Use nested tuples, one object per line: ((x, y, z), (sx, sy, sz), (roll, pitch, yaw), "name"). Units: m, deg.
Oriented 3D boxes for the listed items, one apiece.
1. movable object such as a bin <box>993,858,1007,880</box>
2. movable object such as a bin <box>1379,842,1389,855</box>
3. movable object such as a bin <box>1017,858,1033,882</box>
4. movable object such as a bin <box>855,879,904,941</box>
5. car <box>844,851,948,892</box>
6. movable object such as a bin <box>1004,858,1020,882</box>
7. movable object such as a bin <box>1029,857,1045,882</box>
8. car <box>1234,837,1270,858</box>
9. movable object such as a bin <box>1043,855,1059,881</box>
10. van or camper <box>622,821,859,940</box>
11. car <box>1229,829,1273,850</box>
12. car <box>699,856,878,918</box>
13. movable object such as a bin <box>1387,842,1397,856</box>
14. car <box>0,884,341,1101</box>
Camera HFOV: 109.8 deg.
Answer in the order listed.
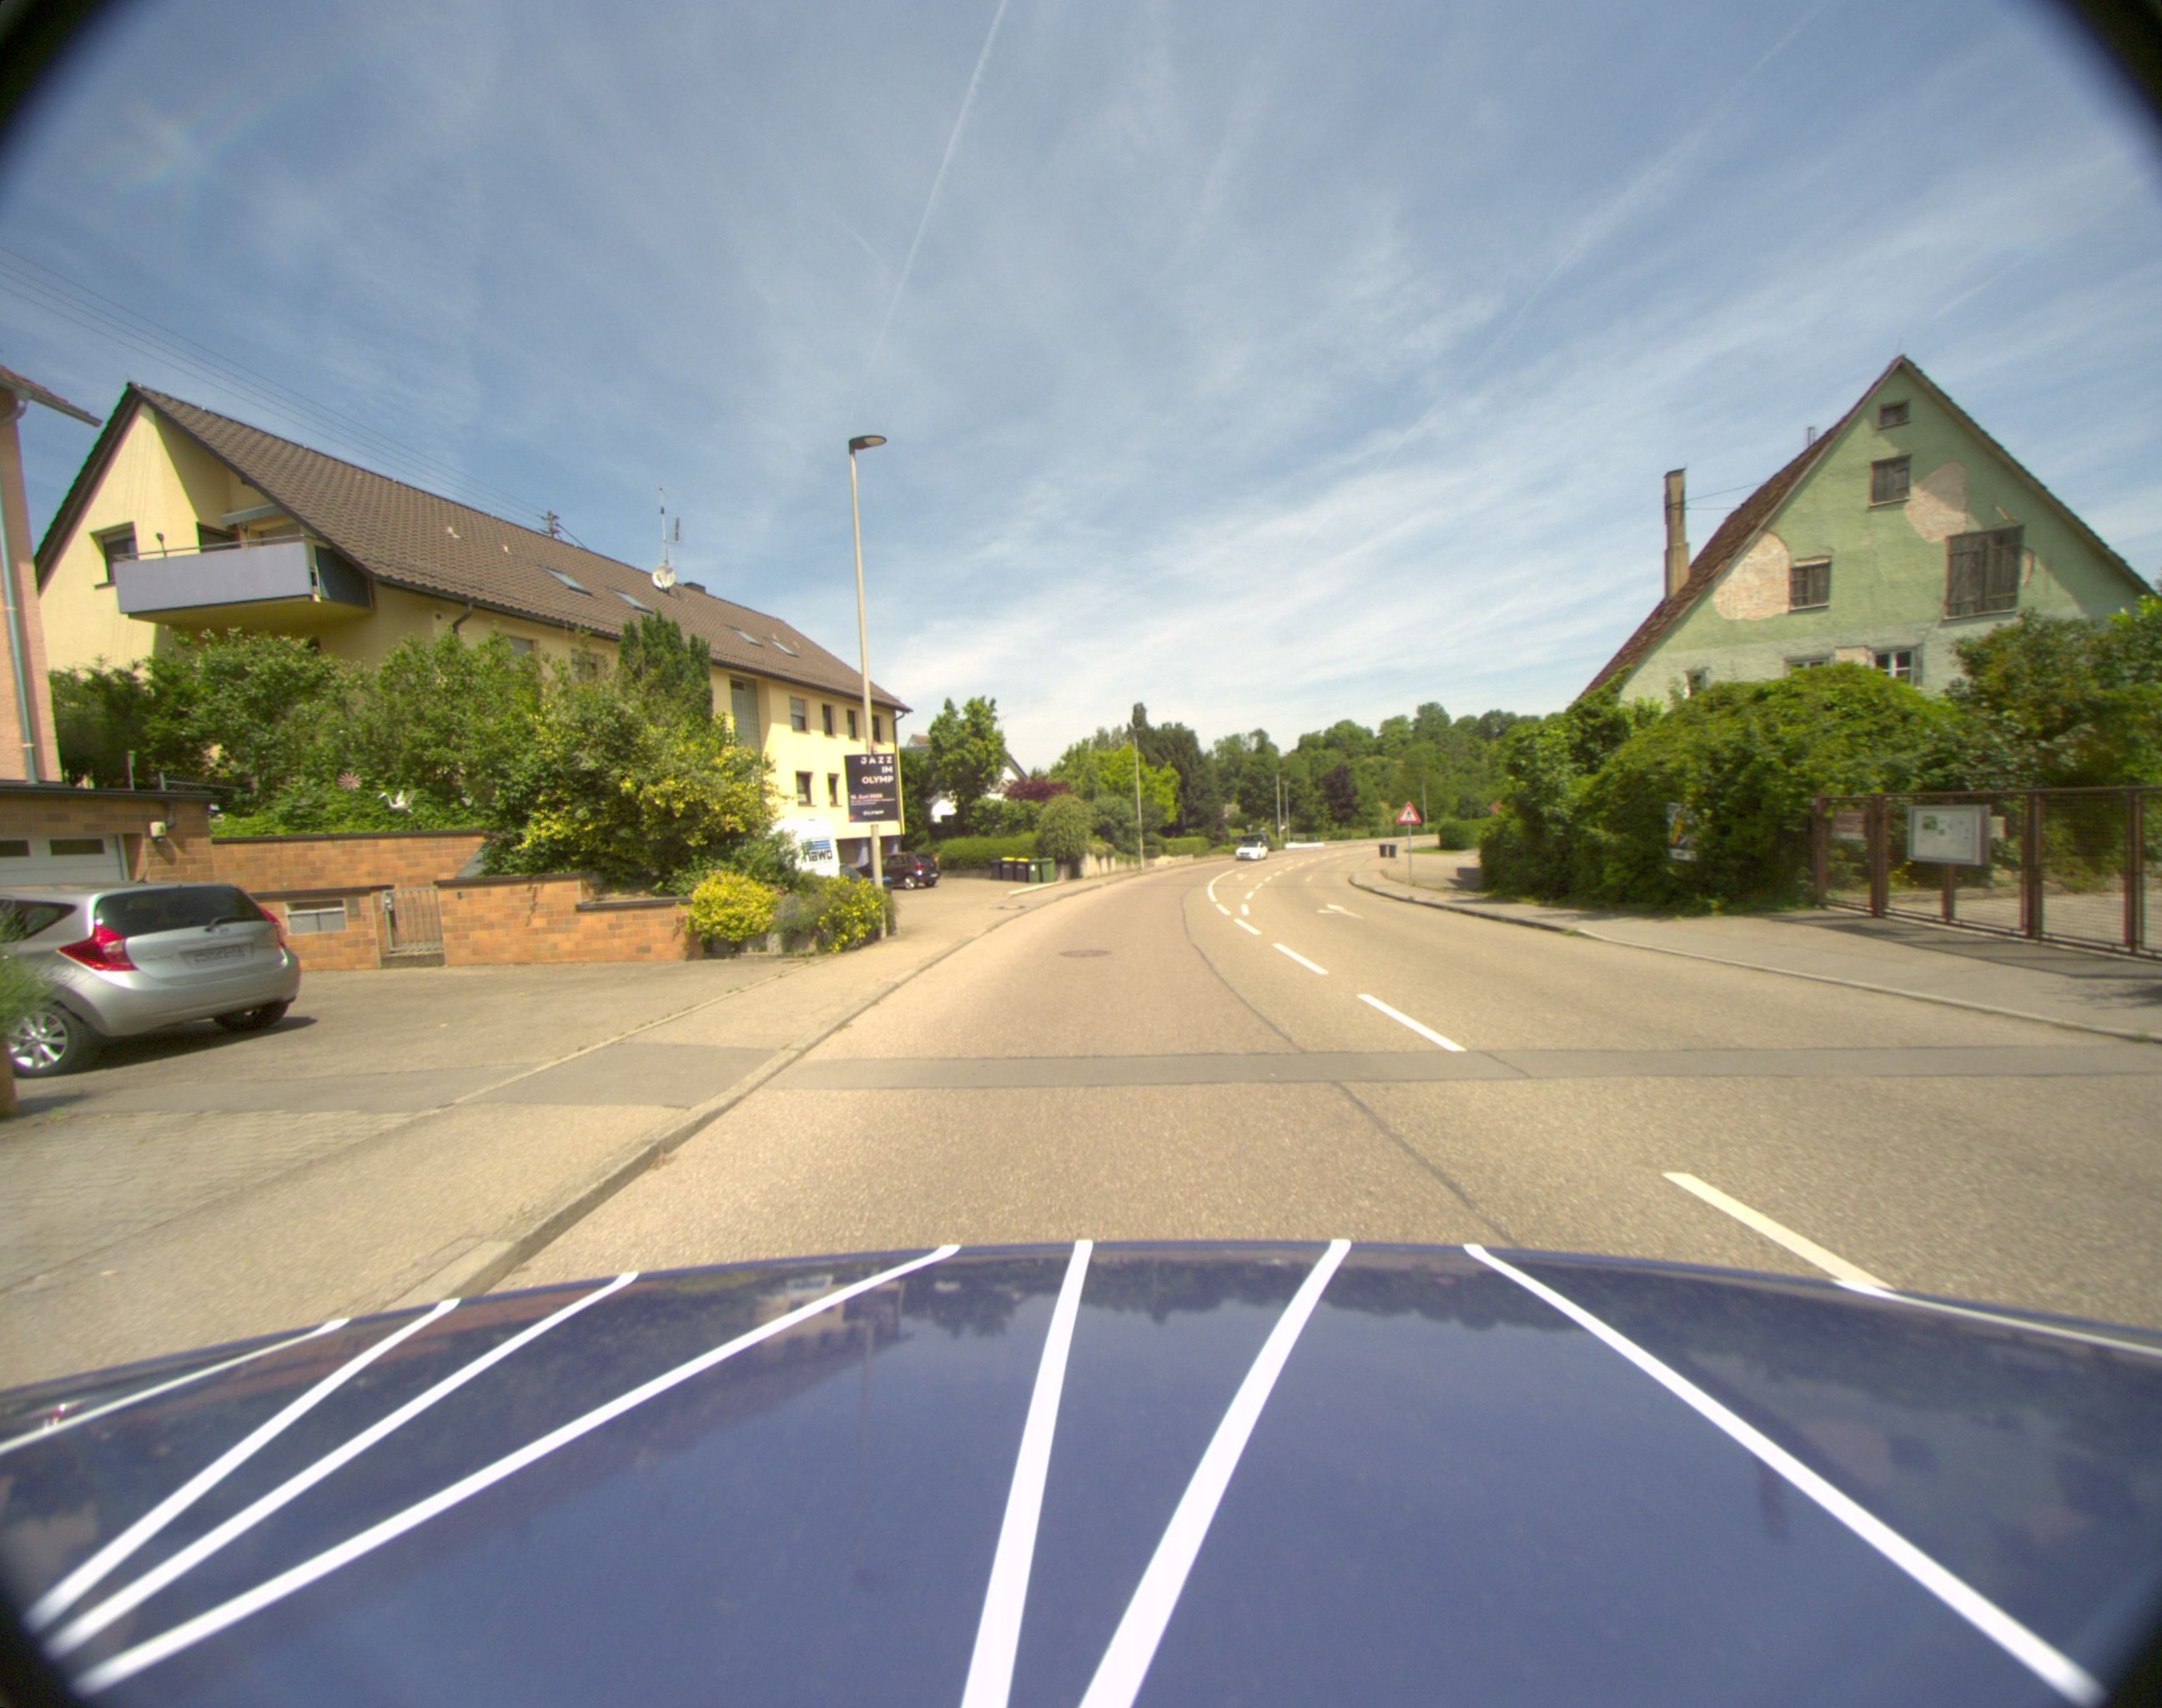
((-3.645, 0.689, 34.159), (0.449, 0.950, 0.516), (2, 2, 17), "movable object such as a bin")
((24.702, -0.457, 61.976), (0.553, 1.075, 0.541), (-3, 1, 6), "movable object such as a bin")
((-2.486, 0.698, 33.823), (0.485, 1.016, 0.565), (1, 2, 21), "movable object such as a bin")
((-3.840, 1.062, 14.529), (0.550, 1.062, 0.659), (-8, 0, 9), "movable object such as a bin")
((-7.468, 0.701, 30.798), (3.685, 1.410, 1.646), (-2, 2, 18), "car")
((-3.097, 0.705, 34.026), (0.485, 1.016, 0.565), (1, 2, 21), "movable object such as a bin")
((-1.943, 0.684, 33.595), (0.485, 1.064, 0.565), (-2, 1, 21), "movable object such as a bin")
((13.874, -0.559, 61.340), (1.822, 1.543, 4.006), (2, 3, 27), "car")
((-1.309, 0.624, 33.420), (0.485, 1.101, 0.565), (-2, 1, 16), "movable object such as a bin")
((-8.979, 0.680, 20.194), (5.234, 2.632, 2.286), (-4, 3, 16), "van or camper")
((17.223, -1.432, 76.945), (3.900, 1.938, 1.959), (-2, 1, 32), "car")
((-8.788, 0.994, 22.955), (4.706, 1.555, 1.910), (-2, 3, 15), "car")
((24.719, -0.411, 60.358), (0.534, 1.044, 0.541), (-3, 1, 6), "movable object such as a bin")
((-9.197, 1.174, 6.547), (3.652, 1.490, 1.836), (-4, 1, -3), "car")
